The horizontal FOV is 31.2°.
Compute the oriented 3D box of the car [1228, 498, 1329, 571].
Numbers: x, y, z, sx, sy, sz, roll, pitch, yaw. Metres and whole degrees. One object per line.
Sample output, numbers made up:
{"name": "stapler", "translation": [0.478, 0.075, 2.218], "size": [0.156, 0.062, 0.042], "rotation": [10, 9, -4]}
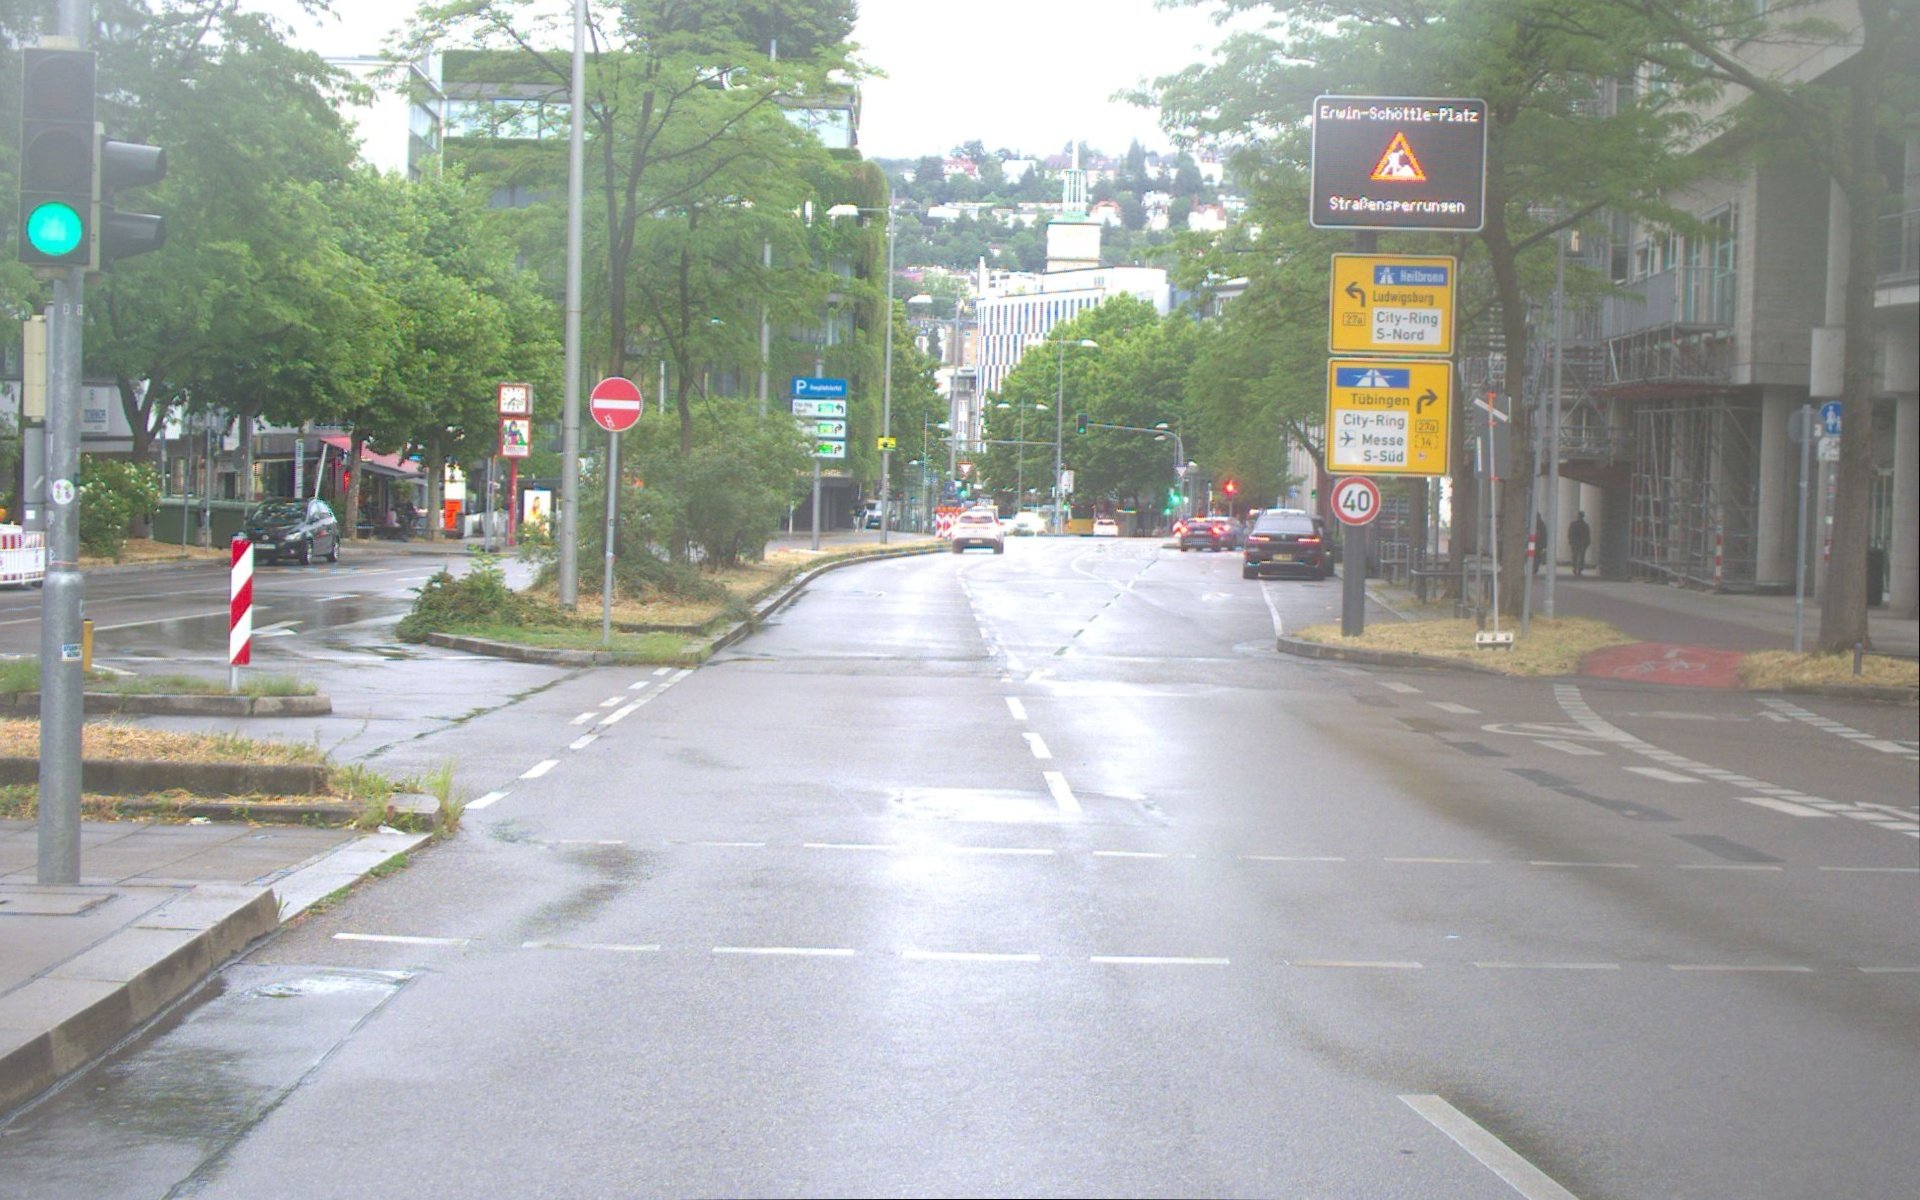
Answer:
{"name": "car", "translation": [7.754, -1.596, 83.415], "size": [2.339, 1.685, 3.999], "rotation": [1, 1, 6]}

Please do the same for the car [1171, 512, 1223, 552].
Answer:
{"name": "car", "translation": [10.705, -3.078, 155.628], "size": [1.993, 1.718, 4.000], "rotation": [1, 0, -1]}

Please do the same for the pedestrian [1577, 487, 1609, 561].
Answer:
{"name": "pedestrian", "translation": [16.565, -1.985, 89.983], "size": [0.775, 1.914, 0.702], "rotation": [1, 0, 10]}

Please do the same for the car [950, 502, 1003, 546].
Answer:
{"name": "car", "translation": [0.664, -2.947, 133.846], "size": [1.829, 1.634, 4.300], "rotation": [2, 1, 2]}

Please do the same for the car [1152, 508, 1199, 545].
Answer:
{"name": "car", "translation": [10.450, -3.563, 166.791], "size": [1.993, 1.730, 4.000], "rotation": [1, 0, -1]}
